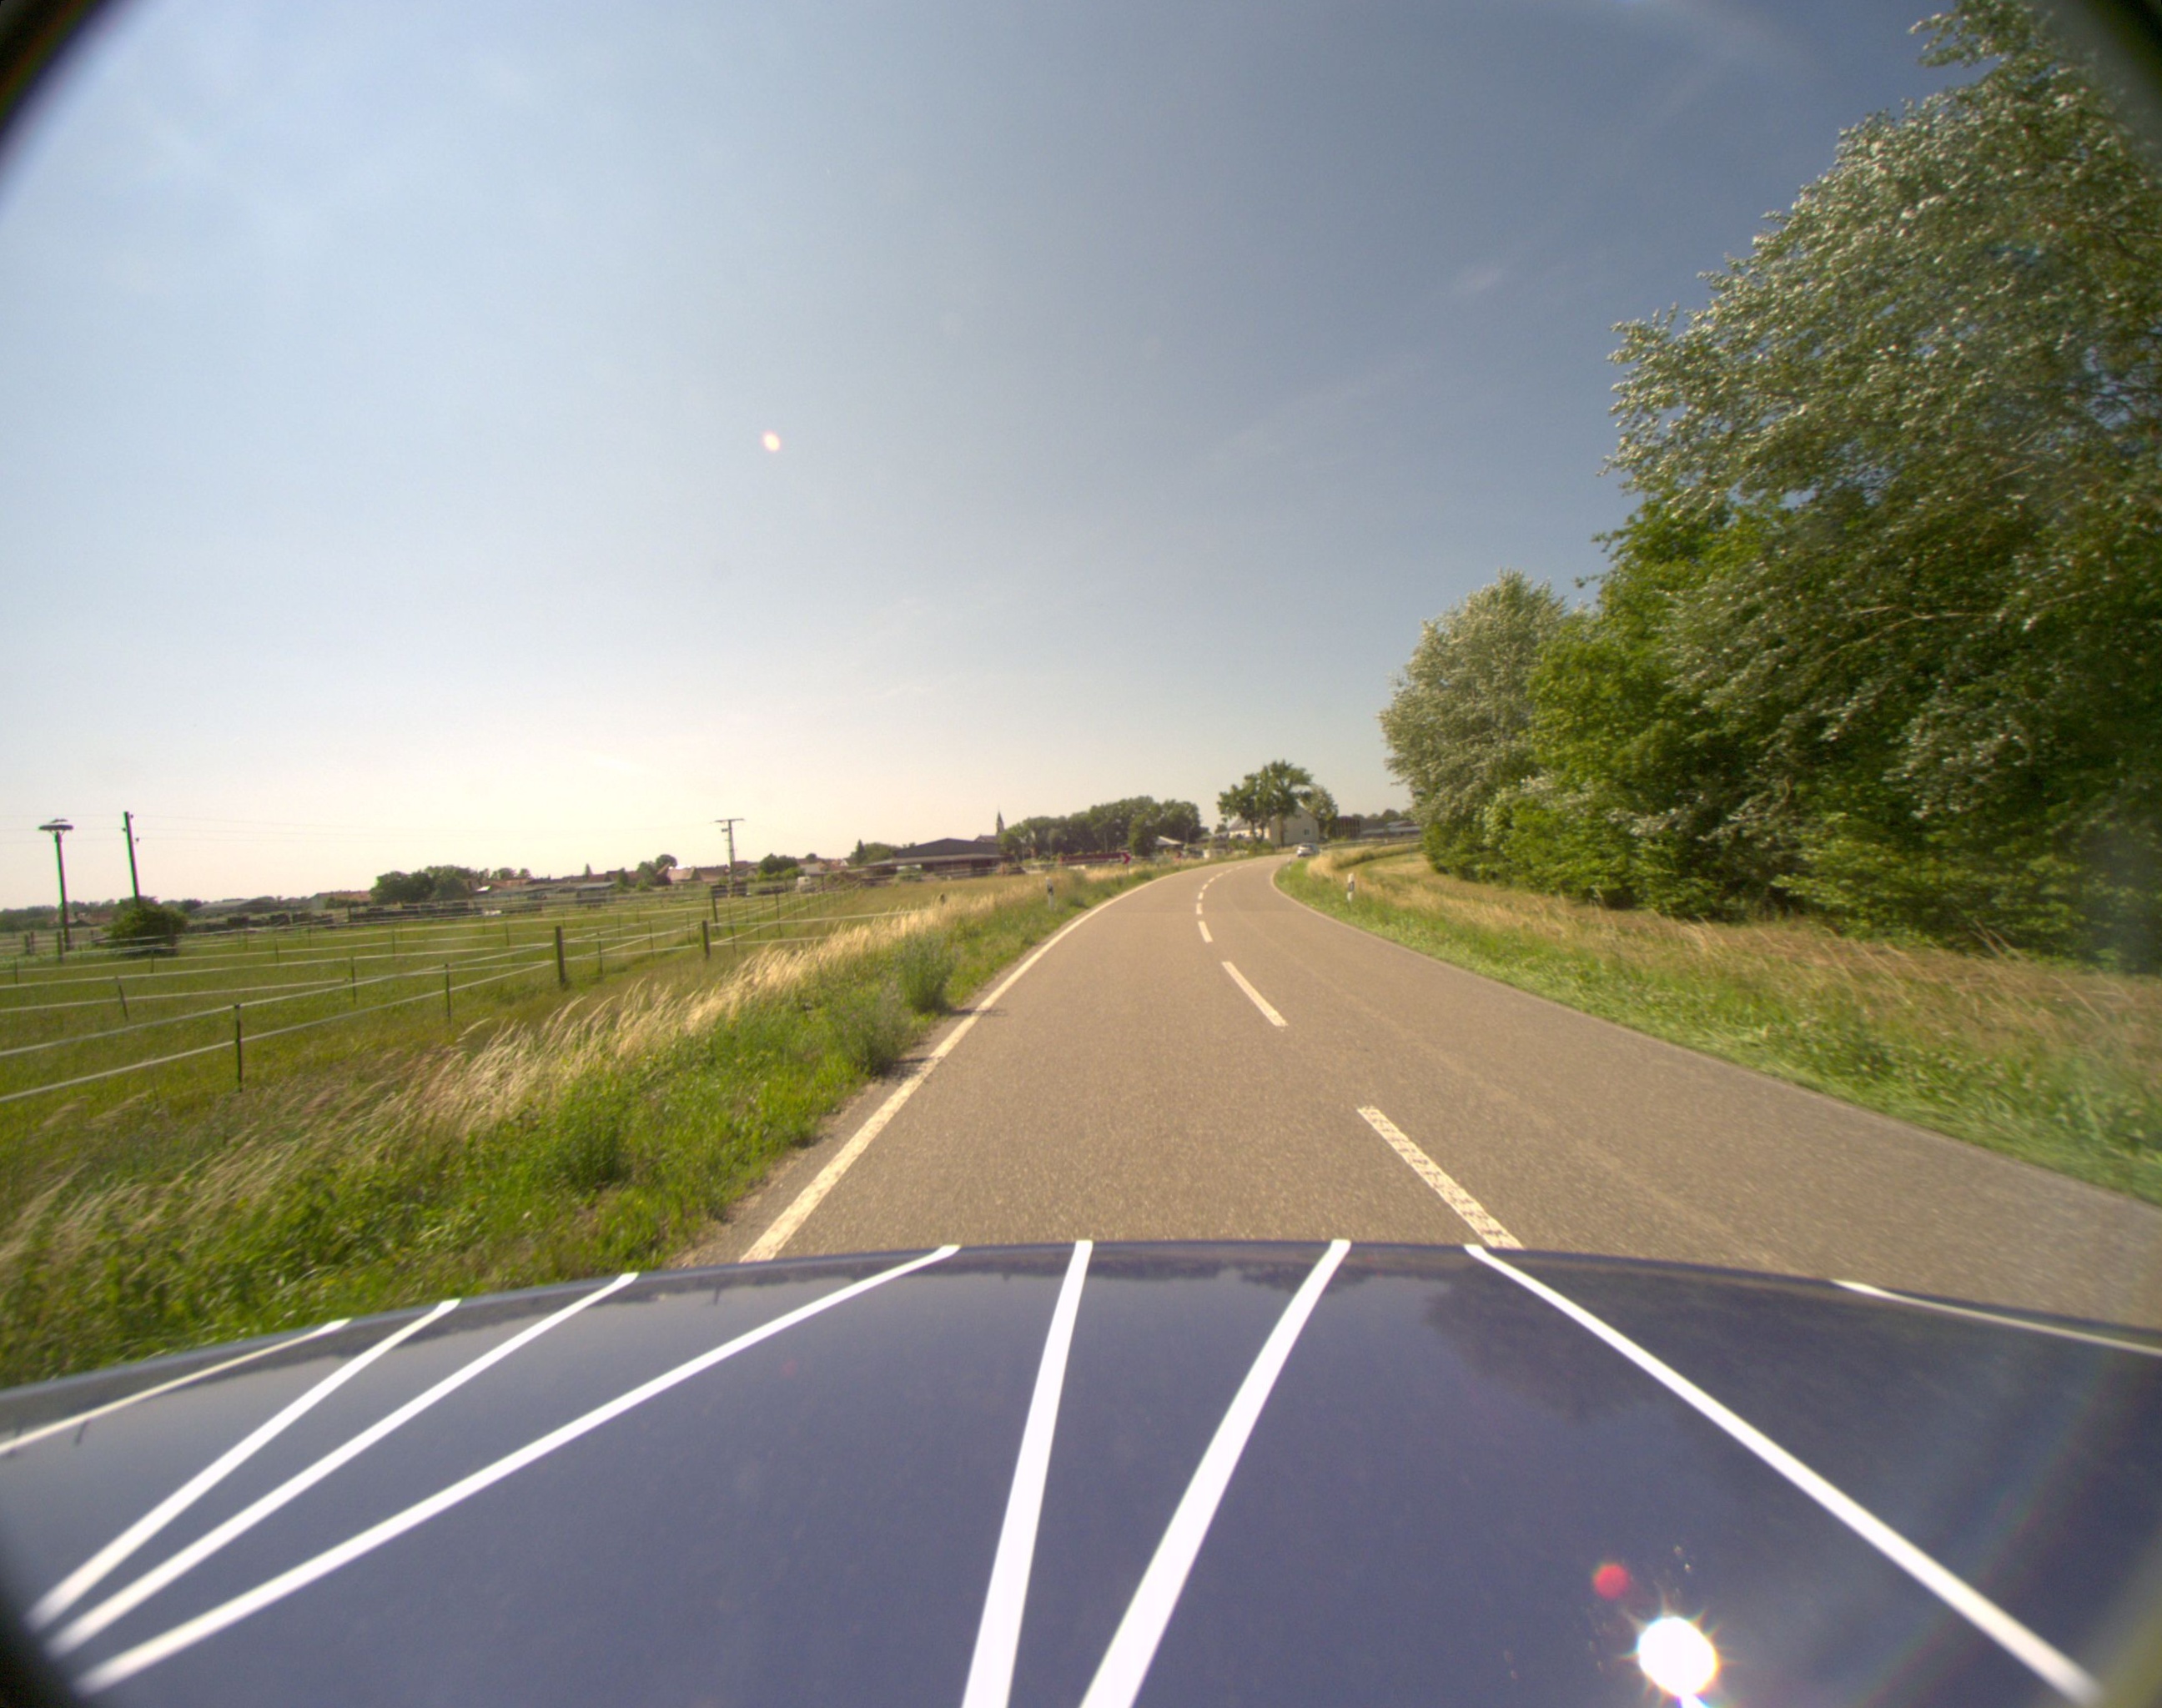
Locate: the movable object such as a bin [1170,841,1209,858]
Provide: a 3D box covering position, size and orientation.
[{"bbox_3d":[20.735,-0.865,145.029,6.511,2.753,3.007,-4,-1,-25],"label":"movable object such as a bin"}]

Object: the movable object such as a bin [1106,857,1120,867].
[{"bbox_3d":[4.921,1.194,116.342,1.518,1.341,1.371,-5,1,-21],"label":"movable object such as a bin"}]

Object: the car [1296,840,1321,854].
[{"bbox_3d":[24.018,-0.781,80.105,1.784,1.419,4.067,1,2,29],"label":"car"}]
